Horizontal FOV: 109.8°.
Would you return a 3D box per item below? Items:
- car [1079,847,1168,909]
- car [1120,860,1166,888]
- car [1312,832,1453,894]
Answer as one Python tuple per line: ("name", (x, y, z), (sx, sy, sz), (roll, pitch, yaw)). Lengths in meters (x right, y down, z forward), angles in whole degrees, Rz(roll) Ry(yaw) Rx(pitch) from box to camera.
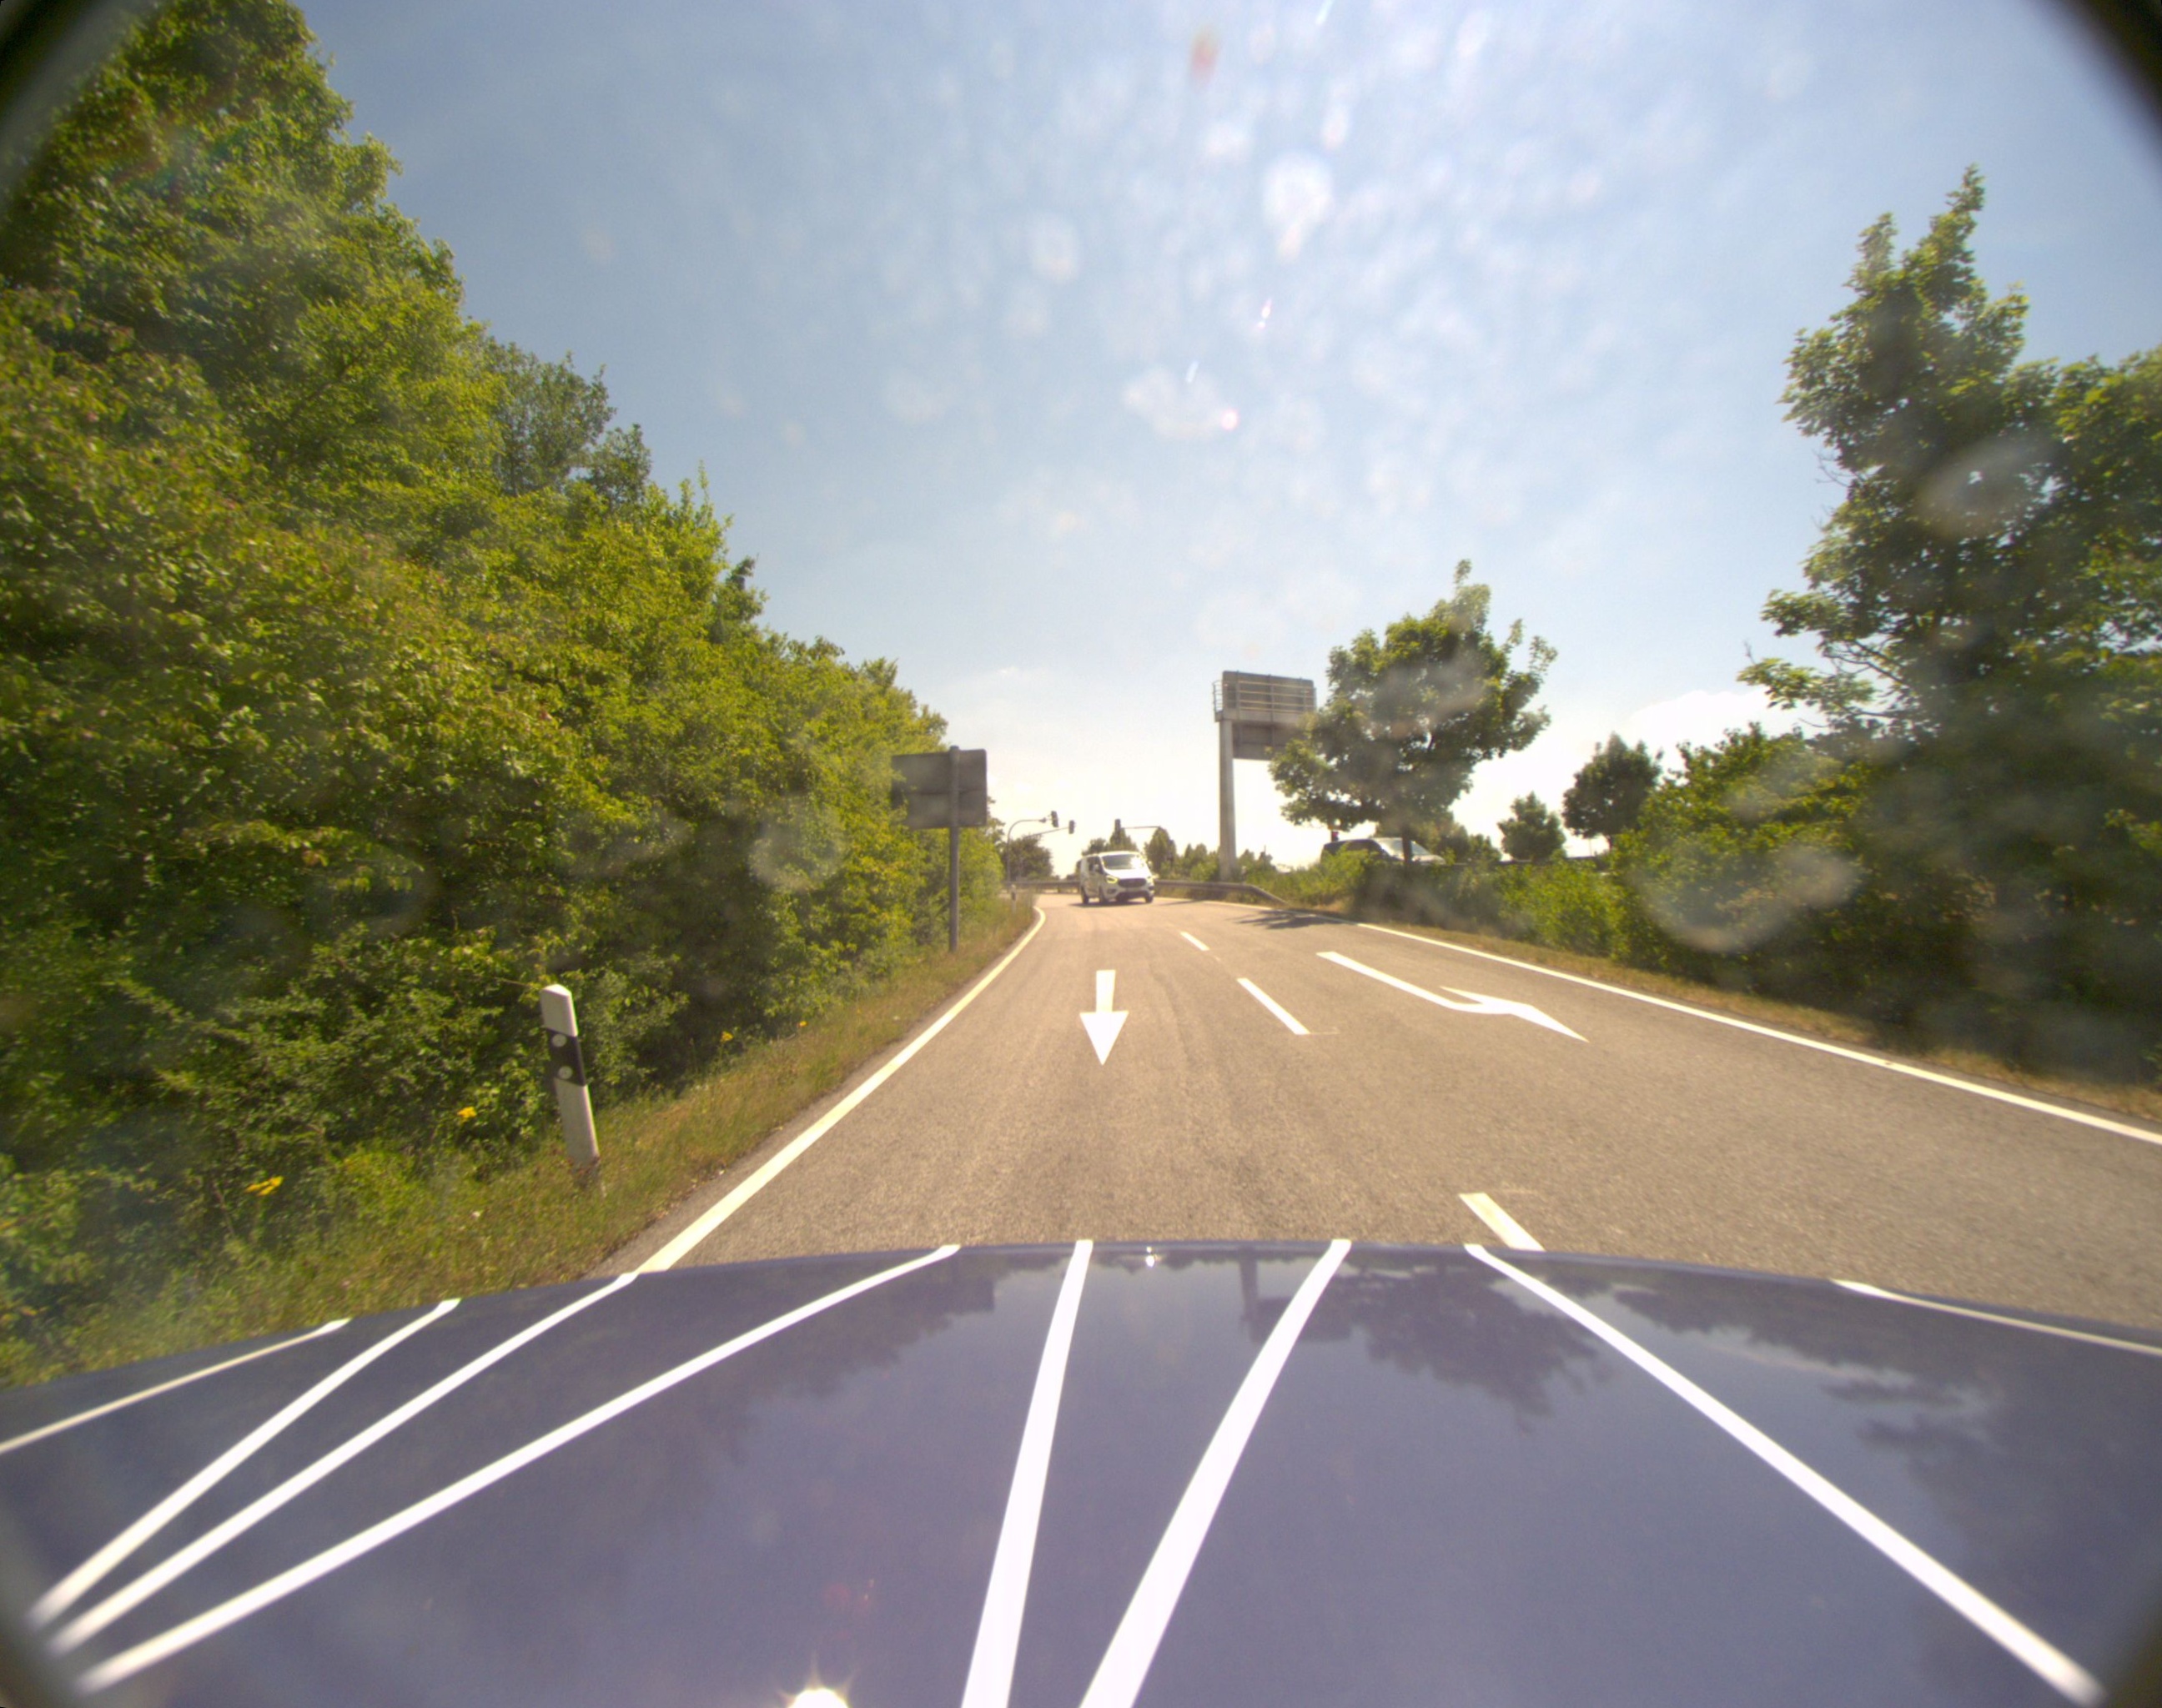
("car", (1.492, 0.831, 29.540), (2.032, 2.072, 5.866), (-3, 1, -11))
("car", (3.758, 1.198, 46.460), (1.790, 1.542, 3.858), (-4, 0, -10))
("car", (10.218, 0.367, 26.152), (1.947, 1.907, 4.526), (1, -2, -21))
